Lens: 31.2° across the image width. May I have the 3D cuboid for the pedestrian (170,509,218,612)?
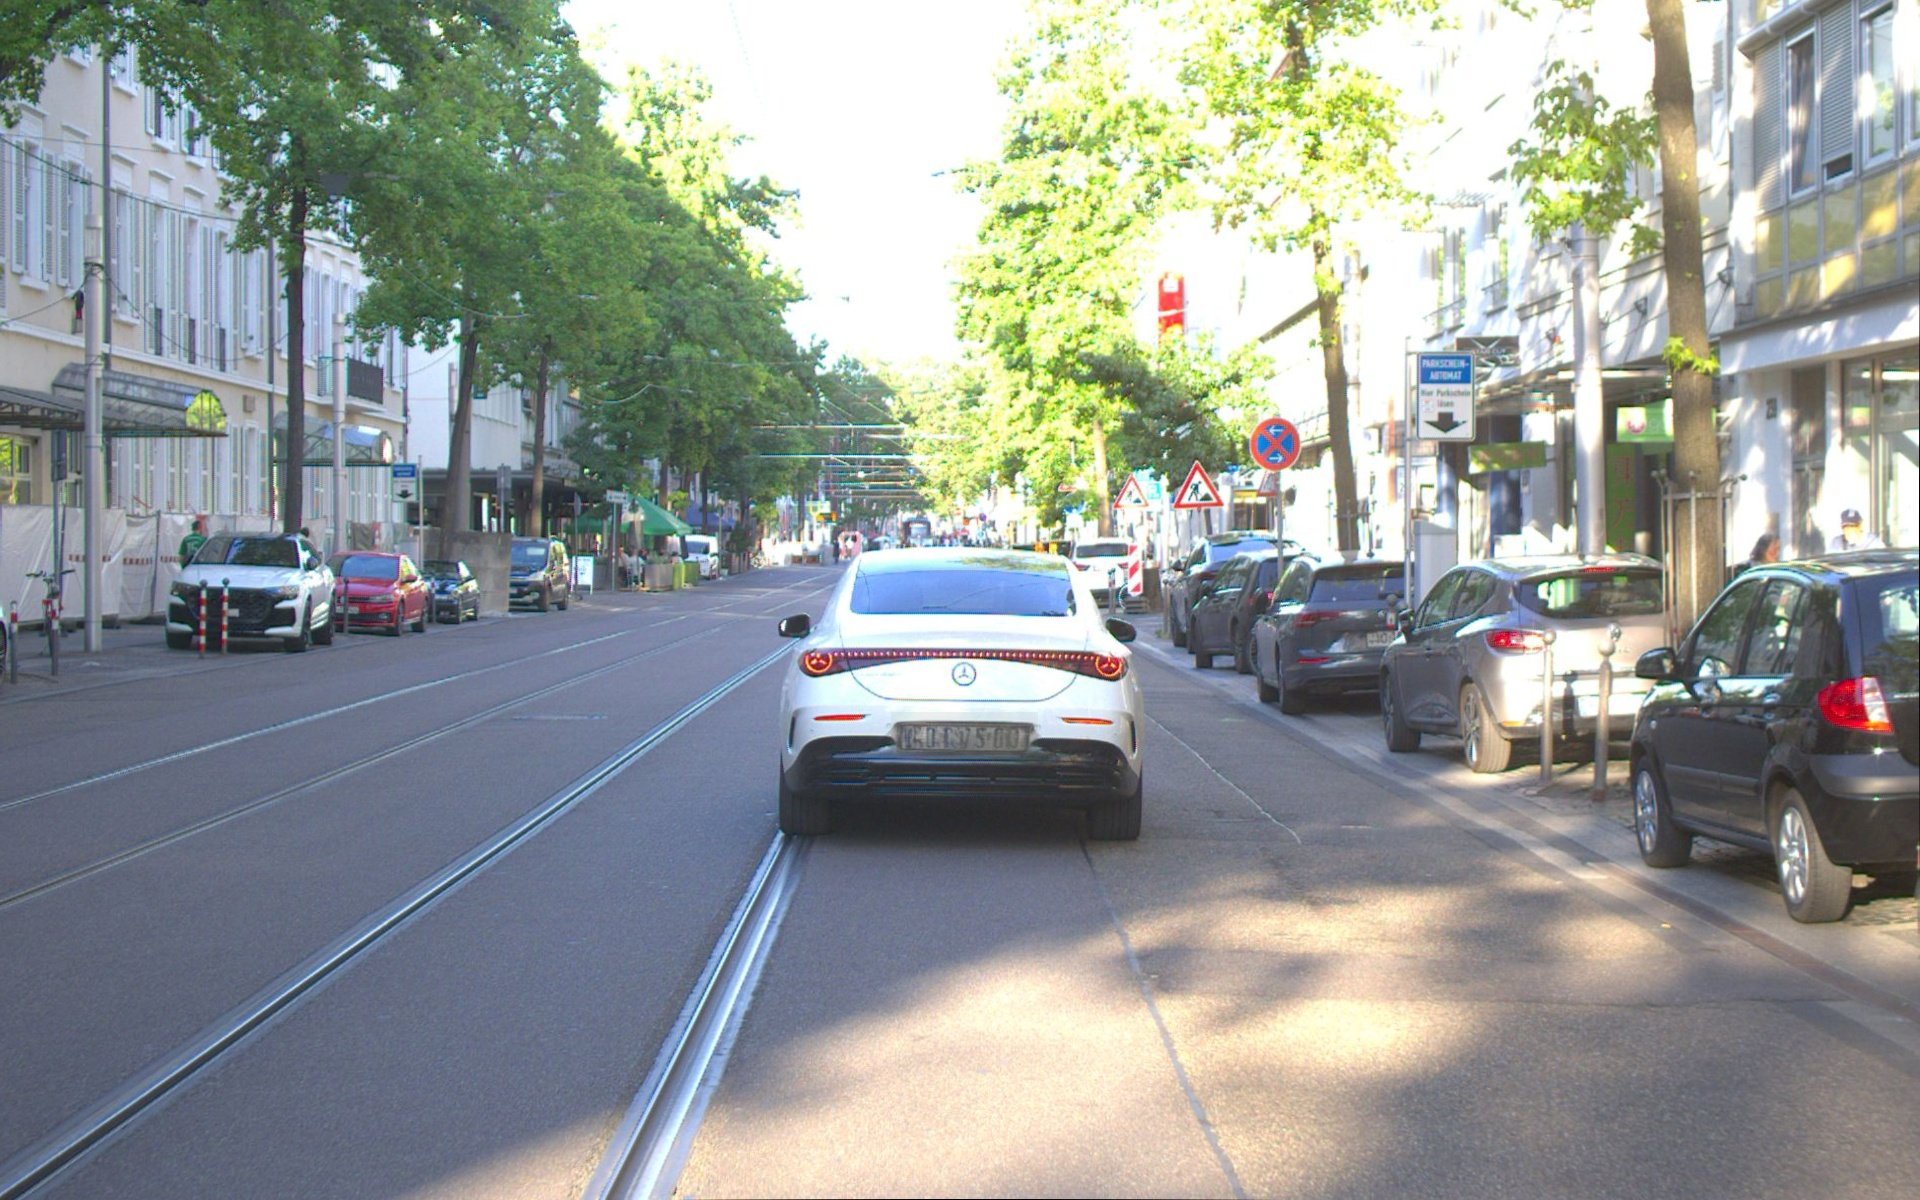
[{"bbox_3d":[-13.560,-0.703,60.864,0.707,1.800,0.676,-1,1,-5],"label":"pedestrian"}]

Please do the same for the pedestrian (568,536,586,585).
[{"bbox_3d":[-12.996,-1.354,116.580,0.517,1.647,0.650,-1,1,0],"label":"pedestrian"}]

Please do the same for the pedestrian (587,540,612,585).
[{"bbox_3d":[-11.799,-1.242,112.505,0.569,1.459,0.649,0,1,19],"label":"pedestrian"}]

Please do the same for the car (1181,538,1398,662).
[{"bbox_3d":[3.977,-0.033,42.127,1.837,1.431,4.001,-1,1,-7],"label":"car"}]

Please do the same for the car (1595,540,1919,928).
[{"bbox_3d":[4.159,0.485,15.237,1.800,1.453,3.655,-3,1,-3],"label":"car"}]

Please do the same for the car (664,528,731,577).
[{"bbox_3d":[-11.106,-2.039,145.508,1.994,2.007,3.999,-1,1,8],"label":"car"}]

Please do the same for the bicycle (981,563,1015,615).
[{"bbox_3d":[0.884,-0.271,80.284,0.740,1.184,2.160,-1,1,1],"label":"bicycle"}]

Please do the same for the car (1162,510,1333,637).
[{"bbox_3d":[4.101,-0.420,49.801,1.993,1.707,4.867,-1,1,-1],"label":"car"}]

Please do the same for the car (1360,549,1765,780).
[{"bbox_3d":[4.150,0.386,24.316,1.814,1.481,4.001,-1,1,-5],"label":"car"}]

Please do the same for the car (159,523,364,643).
[{"bbox_3d":[-10.297,-0.283,51.053,1.962,1.686,5.013,0,1,1],"label":"car"}]

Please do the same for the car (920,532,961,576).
[{"bbox_3d":[-1.151,-2.665,199.854,1.993,2.532,4.001,-1,1,-5],"label":"car"}]

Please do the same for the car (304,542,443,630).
[{"bbox_3d":[-10.389,-0.278,61.128,1.688,1.494,4.234,0,1,1],"label":"car"}]

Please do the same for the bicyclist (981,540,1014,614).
[{"bbox_3d":[0.876,-0.537,80.146,0.724,1.697,0.811,-1,1,0],"label":"bicyclist"}]

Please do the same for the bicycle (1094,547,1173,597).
[{"bbox_3d":[3.820,-0.615,75.629,1.723,1.058,0.581,-1,1,3],"label":"bicycle"}]

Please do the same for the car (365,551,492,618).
[{"bbox_3d":[-10.787,-0.328,70.040,1.993,1.287,4.000,-1,1,-1],"label":"car"}]

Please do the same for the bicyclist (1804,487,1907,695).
[{"bbox_3d":[7.390,-0.082,28.372,0.638,1.678,0.600,-2,1,-2],"label":"bicyclist"}]

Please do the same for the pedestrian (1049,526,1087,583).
[{"bbox_3d":[3.363,-1.425,107.096,0.919,1.768,0.874,-1,1,-14],"label":"pedestrian"}]

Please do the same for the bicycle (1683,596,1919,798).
[{"bbox_3d":[5.163,0.536,19.660,1.855,1.070,0.712,-2,1,-10],"label":"bicycle"}]

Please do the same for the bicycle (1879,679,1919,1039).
[{"bbox_3d":[3.893,0.808,11.044,1.728,1.135,0.546,-2,0,20],"label":"bicycle"}]

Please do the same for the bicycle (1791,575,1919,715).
[{"bbox_3d":[7.417,0.349,28.252,0.647,1.070,1.861,-2,1,-2],"label":"bicycle"}]

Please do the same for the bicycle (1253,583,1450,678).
[{"bbox_3d":[4.106,0.323,36.100,2.038,0.961,0.282,-1,1,5],"label":"bicycle"}]

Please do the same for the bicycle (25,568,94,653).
[{"bbox_3d":[-11.661,0.128,44.543,0.593,1.047,2.009,-1,1,-7],"label":"bicycle"}]

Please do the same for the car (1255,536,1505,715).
[{"bbox_3d":[3.843,0.188,32.077,1.871,1.448,4.106,-3,1,2],"label":"car"}]

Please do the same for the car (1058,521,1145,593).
[{"bbox_3d":[3.545,-1.112,86.700,1.993,1.722,4.241,-1,1,0],"label":"car"}]

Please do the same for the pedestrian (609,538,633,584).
[{"bbox_3d":[-11.218,-1.281,113.771,0.517,1.473,0.650,-4,0,-27],"label":"pedestrian"}]

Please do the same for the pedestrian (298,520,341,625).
[{"bbox_3d":[-12.400,-0.536,66.551,0.707,1.997,0.675,-1,1,-4],"label":"pedestrian"}]

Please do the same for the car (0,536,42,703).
[{"bbox_3d":[-10.423,0.208,32.780,1.946,1.634,4.909,0,1,1],"label":"car"}]

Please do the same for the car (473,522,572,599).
[{"bbox_3d":[-10.510,-0.977,82.783,1.553,1.789,3.166,-1,1,8],"label":"car"}]

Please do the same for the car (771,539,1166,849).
[{"bbox_3d":[-0.026,0.418,18.317,1.868,1.464,4.043,0,1,-2],"label":"car"}]
